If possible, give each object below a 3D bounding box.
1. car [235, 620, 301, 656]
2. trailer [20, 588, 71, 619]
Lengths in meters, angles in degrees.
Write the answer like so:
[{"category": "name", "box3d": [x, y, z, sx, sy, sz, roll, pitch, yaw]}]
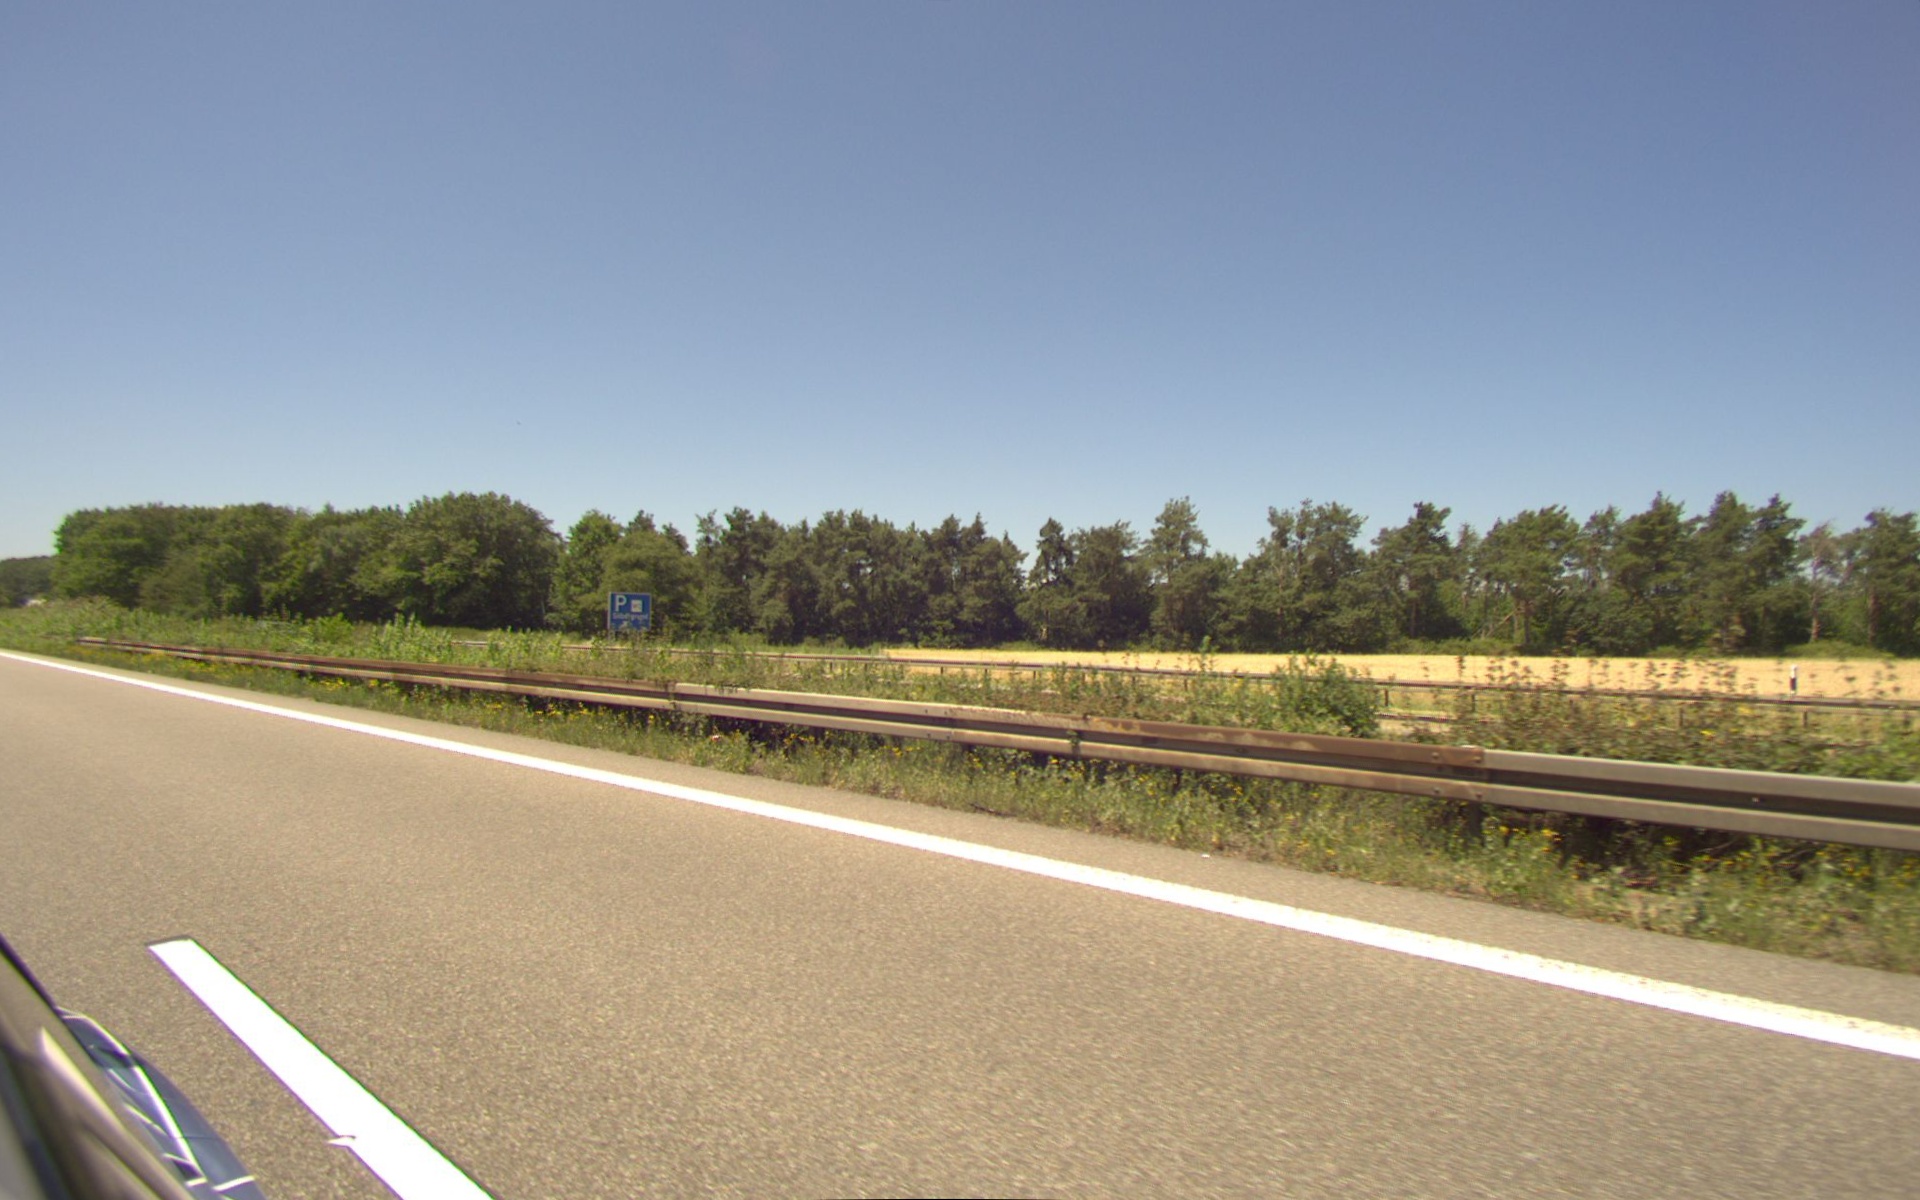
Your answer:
[{"category": "car", "box3d": [-35.466, 1.933, 51.818, 3.998, 1.792, 1.855, -1, -2, 41]}, {"category": "trailer", "box3d": [-115.634, 0.445, 127.865, 14.376, 3.726, 3.146, -1, 0, 41]}]
